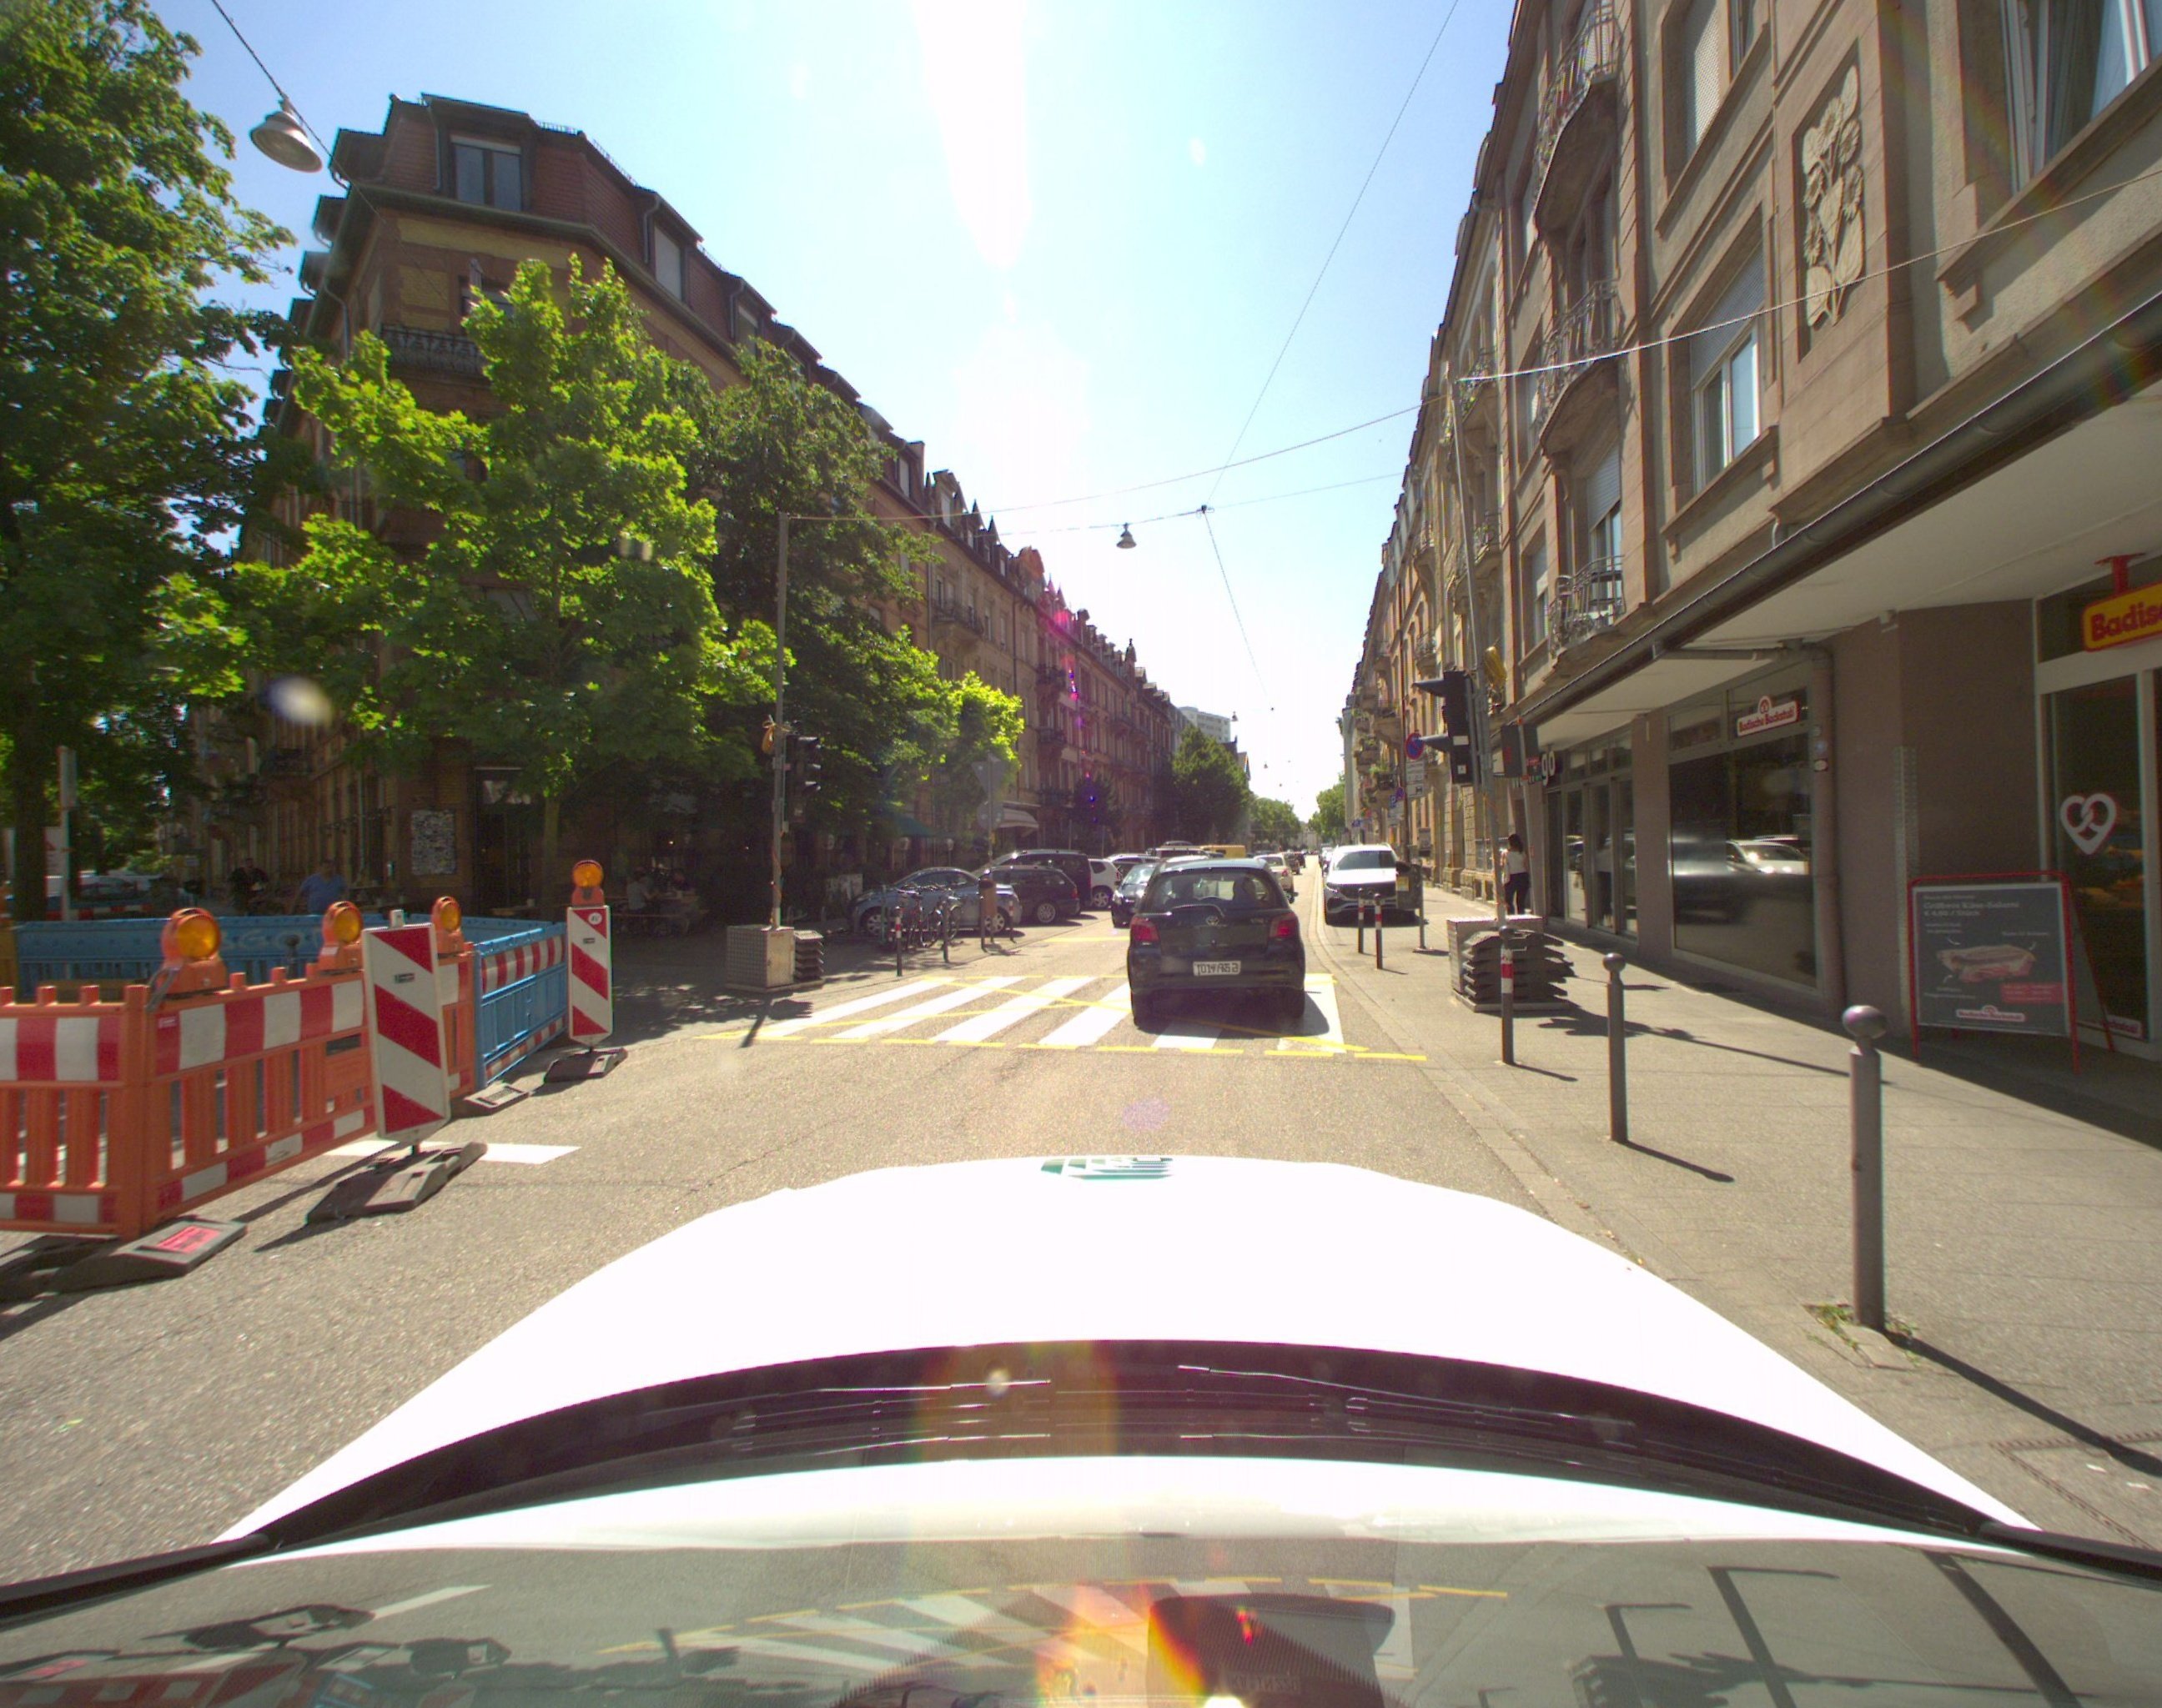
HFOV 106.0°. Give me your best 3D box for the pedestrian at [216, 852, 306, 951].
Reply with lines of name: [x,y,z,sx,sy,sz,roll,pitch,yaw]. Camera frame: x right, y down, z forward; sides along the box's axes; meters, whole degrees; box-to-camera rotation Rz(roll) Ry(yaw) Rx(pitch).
pedestrian: [-15.383,0.854,15.286,0.996,1.790,0.869,0,0,23]

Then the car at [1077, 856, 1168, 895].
car: [1.856,0.947,37.170,3.907,1.619,1.861,-1,0,-7]

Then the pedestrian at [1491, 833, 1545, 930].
pedestrian: [7.558,0.461,14.124,0.636,1.623,0.807,-2,0,16]

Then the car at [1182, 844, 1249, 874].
car: [10.164,0.380,61.778,4.559,2.187,1.993,-1,0,-11]

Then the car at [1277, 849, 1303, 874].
car: [13.994,0.458,54.492,1.510,1.592,3.278,-2,0,17]

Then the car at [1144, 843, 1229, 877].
car: [6.511,0.354,50.271,4.777,1.994,2.045,-1,0,-13]

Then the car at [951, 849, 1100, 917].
car: [-1.597,0.772,22.941,3.991,1.804,1.761,0,0,-13]

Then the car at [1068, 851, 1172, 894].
car: [1.611,0.751,34.041,3.928,1.619,1.851,-1,0,-24]

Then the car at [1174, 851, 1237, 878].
car: [8.430,0.732,55.390,3.907,1.708,1.861,-1,0,-7]

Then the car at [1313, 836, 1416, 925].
car: [6.339,0.542,18.456,1.857,1.713,4.524,-3,-1,17]

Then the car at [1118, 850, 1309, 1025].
car: [1.310,0.756,8.726,1.606,1.485,3.246,-2,-1,6]

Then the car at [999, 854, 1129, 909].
car: [-0.591,0.846,25.787,3.983,1.658,1.756,0,0,-7]

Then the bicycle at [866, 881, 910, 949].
bicycle: [-3.586,1.107,15.220,0.336,1.156,1.622,0,0,4]

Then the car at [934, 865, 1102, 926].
car: [-1.640,1.008,20.744,3.995,1.412,1.961,0,0,-16]

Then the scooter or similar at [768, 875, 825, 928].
scooter or similar: [-6.533,1.062,18.732,0.275,1.120,1.478,1,1,25]

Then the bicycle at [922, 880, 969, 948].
bicycle: [-2.572,1.121,15.617,0.488,1.173,1.686,0,0,4]

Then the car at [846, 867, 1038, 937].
car: [-3.081,1.004,18.104,3.991,1.375,1.991,0,0,-13]

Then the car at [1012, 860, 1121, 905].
car: [-0.530,0.942,27.764,3.613,1.458,1.622,0,0,-5]

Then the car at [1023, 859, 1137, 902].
car: [-0.031,0.956,30.884,3.929,1.470,1.851,-1,0,-25]

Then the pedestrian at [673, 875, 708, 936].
pedestrian: [-8.139,1.052,16.997,0.557,1.220,0.595,-1,-1,-18]

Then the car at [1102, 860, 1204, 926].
car: [1.935,0.923,20.654,1.741,1.444,4.018,-2,-1,17]

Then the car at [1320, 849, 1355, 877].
car: [14.468,0.479,45.991,1.741,1.429,4.018,-2,-1,17]

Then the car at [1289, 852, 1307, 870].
car: [20.014,0.595,75.098,1.511,1.592,3.277,-2,0,15]

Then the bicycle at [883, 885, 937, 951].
bicycle: [-3.172,1.161,15.257,0.488,1.081,1.901,0,0,4]

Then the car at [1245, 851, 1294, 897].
car: [6.932,0.689,29.778,1.511,1.521,3.277,-2,0,16]

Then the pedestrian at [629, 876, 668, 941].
pedestrian: [-8.578,1.069,16.158,0.557,1.220,0.595,-1,-1,-18]

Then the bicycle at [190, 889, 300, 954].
bicycle: [-15.594,1.234,15.180,2.261,1.087,0.605,0,0,22]

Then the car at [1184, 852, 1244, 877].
car: [9.510,0.750,58.429,3.858,1.640,1.781,-1,0,-7]

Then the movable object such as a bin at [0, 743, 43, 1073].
movable object such as a bin: [-11.078,0.523,6.155,4.515,2.658,1.960,-2,1,9]

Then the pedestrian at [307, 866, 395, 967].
pedestrian: [-12.847,1.073,14.355,0.632,1.704,0.934,0,0,13]

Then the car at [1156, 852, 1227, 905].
car: [4.083,0.822,29.442,1.741,1.645,4.397,-5,-1,17]

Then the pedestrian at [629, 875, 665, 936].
pedestrian: [-9.079,1.062,17.048,0.557,1.220,0.595,-1,-1,-18]

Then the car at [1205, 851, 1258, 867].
car: [14.407,0.462,78.121,4.559,1.434,1.993,-1,0,-11]
